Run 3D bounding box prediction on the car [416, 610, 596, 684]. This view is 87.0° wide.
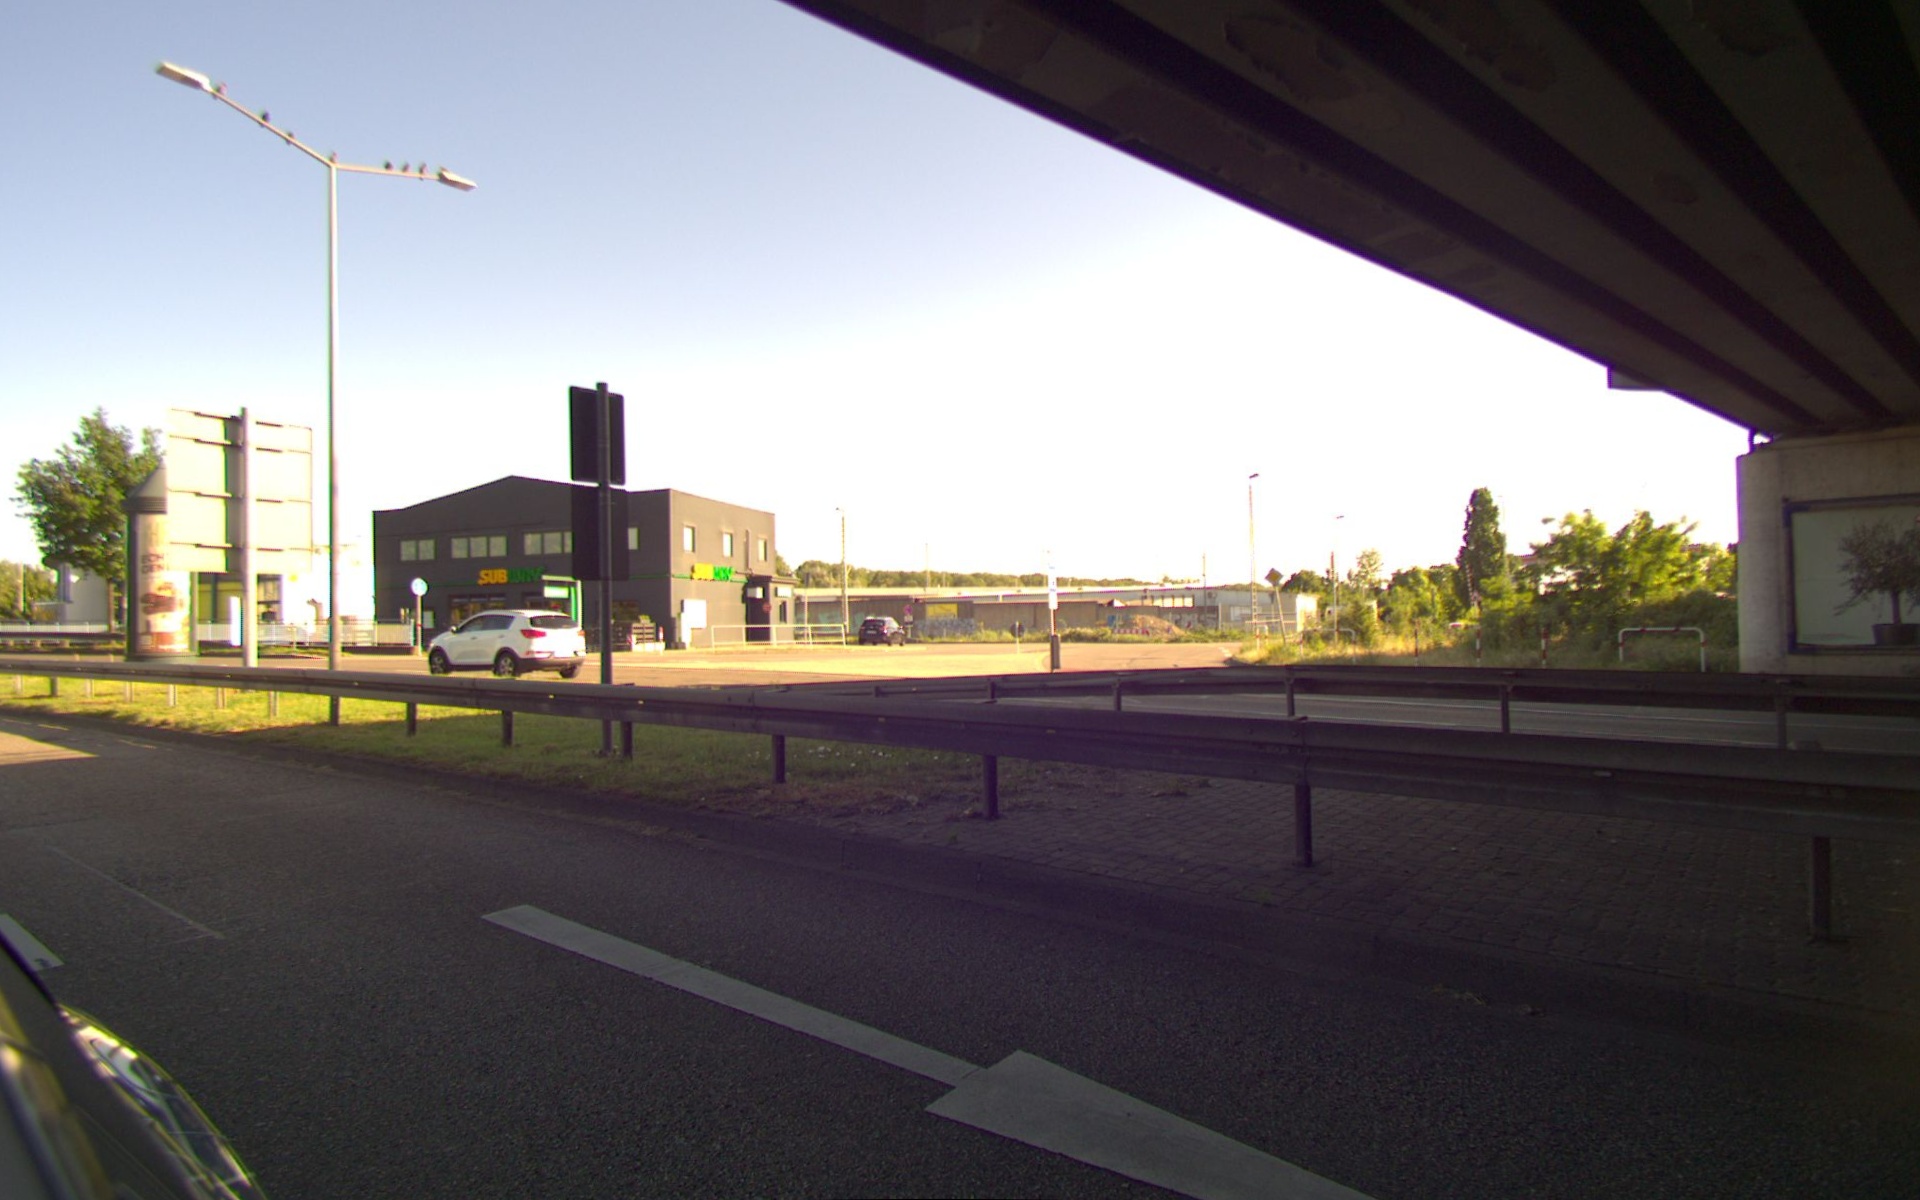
[{"bbox_3d":[-10.819,1.086,24.061,4.279,1.619,1.787,-1,-1,31],"label":"car"}]

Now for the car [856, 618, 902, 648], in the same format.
[{"bbox_3d":[-4.250,1.718,53.735,1.859,1.453,3.995,-1,0,4],"label":"car"}]
